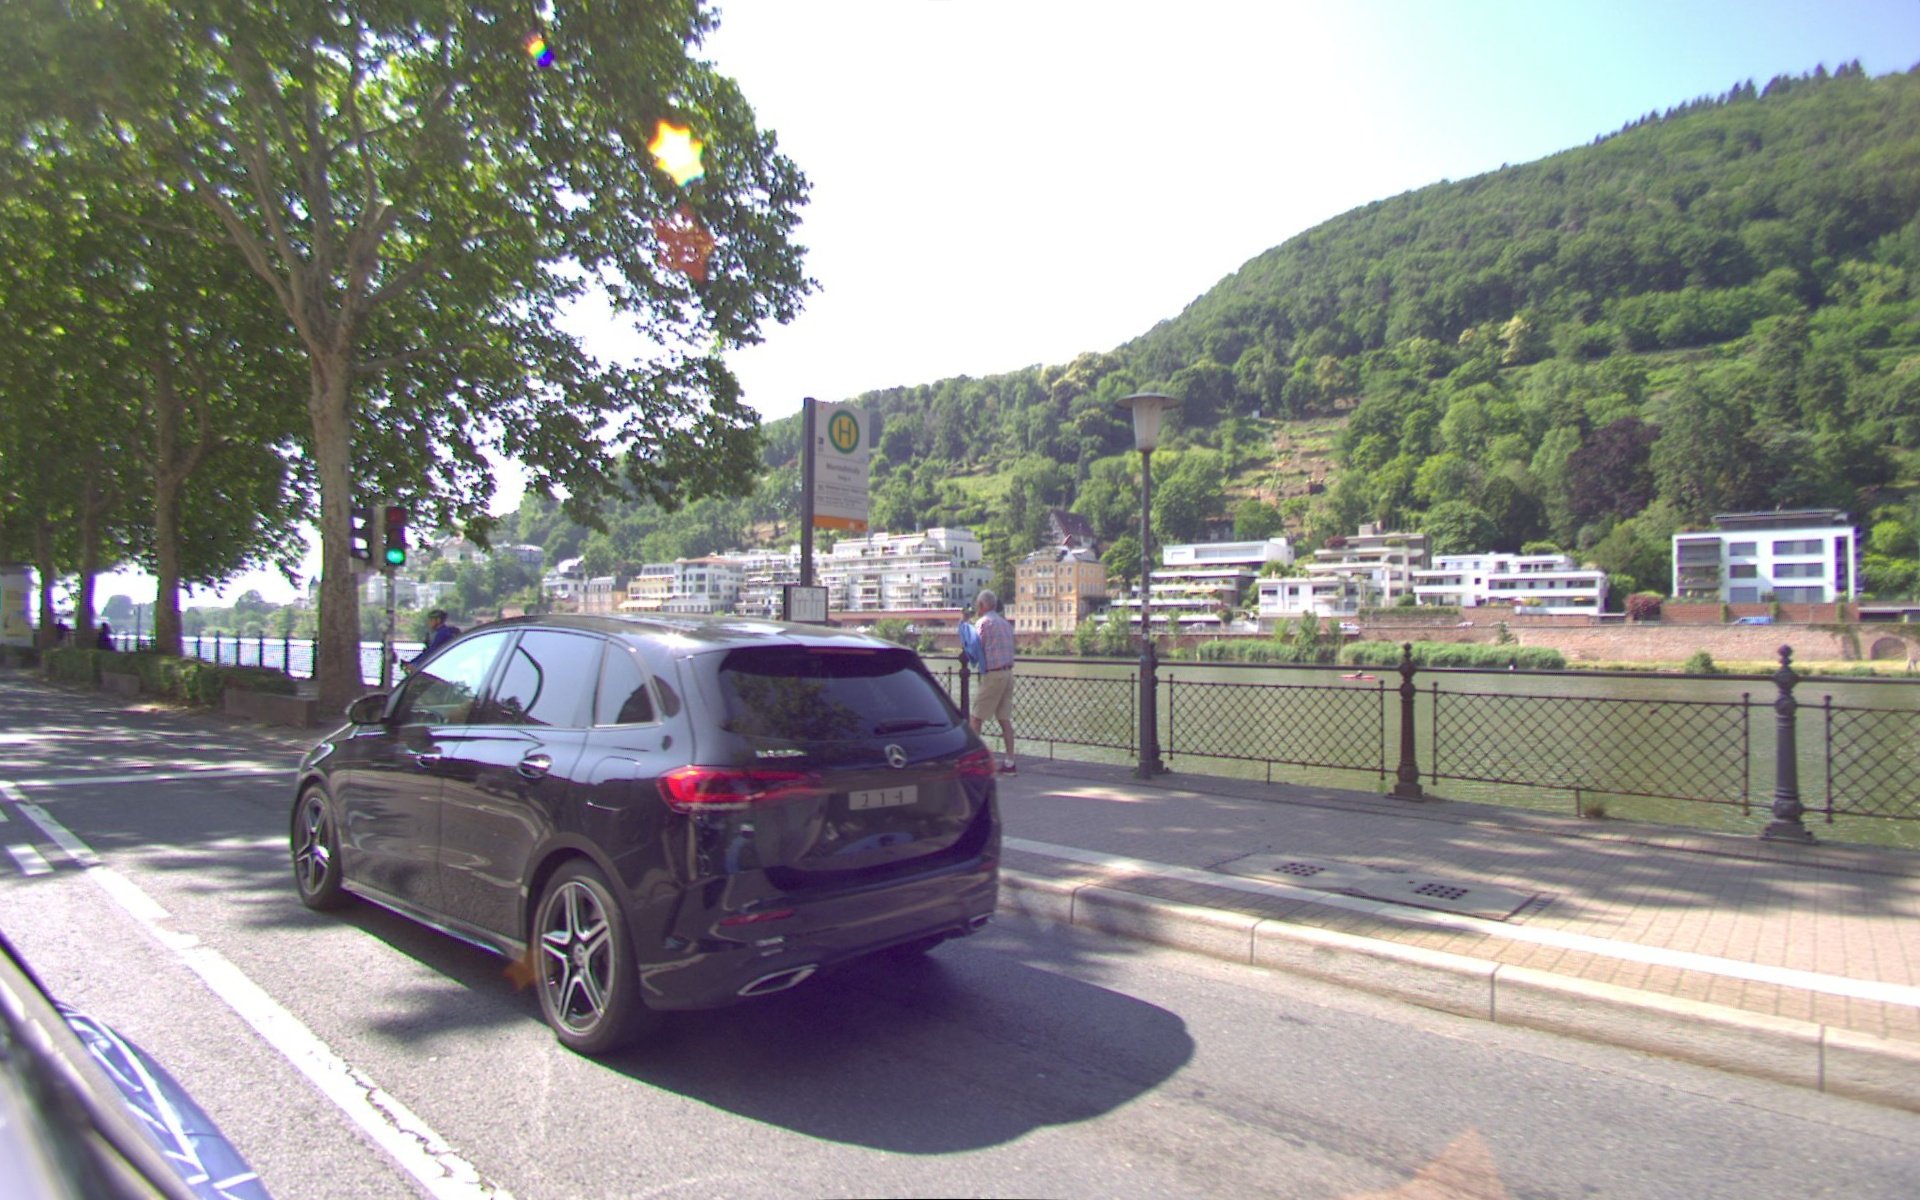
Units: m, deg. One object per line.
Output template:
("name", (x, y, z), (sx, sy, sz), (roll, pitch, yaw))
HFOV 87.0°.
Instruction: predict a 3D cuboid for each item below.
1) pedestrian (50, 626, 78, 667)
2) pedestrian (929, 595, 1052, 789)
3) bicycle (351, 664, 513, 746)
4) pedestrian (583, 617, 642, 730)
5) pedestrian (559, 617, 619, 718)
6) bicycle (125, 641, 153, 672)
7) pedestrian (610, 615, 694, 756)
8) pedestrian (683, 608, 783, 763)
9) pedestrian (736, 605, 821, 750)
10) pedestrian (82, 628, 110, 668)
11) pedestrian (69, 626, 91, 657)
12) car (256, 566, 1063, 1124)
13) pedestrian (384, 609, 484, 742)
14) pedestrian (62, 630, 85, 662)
("pedestrian", (-38.810, 2.020, 43.833), (0.729, 1.744, 0.750), (-1, -3, 40))
("pedestrian", (0.297, 0.866, 9.923), (0.971, 1.777, 0.704), (-1, -3, 40))
("bicycle", (-7.290, 1.442, 14.050), (1.801, 0.932, 0.744), (-4, -1, -9))
("pedestrian", (-5.427, 1.122, 15.807), (0.695, 1.713, 0.612), (-1, -2, 40))
("pedestrian", (-6.214, 1.110, 16.957), (0.910, 1.621, 0.543), (-1, 0, 40))
("bicycle", (-32.320, 2.194, 39.834), (1.843, 1.161, 0.557), (-1, -1, 41))
("pedestrian", (-3.725, 1.002, 12.224), (0.991, 1.630, 0.488), (-1, -3, 41))
("pedestrian", (-2.664, 0.976, 11.893), (0.782, 1.727, 0.827), (-1, -3, 40))
("pedestrian", (-2.255, 0.948, 12.586), (0.793, 1.727, 0.646), (-2, -4, 40))
("pedestrian", (-37.605, 2.087, 44.057), (0.709, 1.696, 0.783), (-1, -3, 40))
("pedestrian", (-38.000, 1.805, 43.706), (0.552, 1.330, 0.625), (-1, -3, 40))
("car", (-1.787, 0.766, 4.923), (4.404, 1.529, 1.683), (-1, -5, 42))
("pedestrian", (-7.285, 1.027, 14.069), (1.008, 1.786, 0.770), (1, -2, -9))
("pedestrian", (-38.038, 1.965, 43.431), (0.552, 1.330, 0.625), (-2, -3, 40))
